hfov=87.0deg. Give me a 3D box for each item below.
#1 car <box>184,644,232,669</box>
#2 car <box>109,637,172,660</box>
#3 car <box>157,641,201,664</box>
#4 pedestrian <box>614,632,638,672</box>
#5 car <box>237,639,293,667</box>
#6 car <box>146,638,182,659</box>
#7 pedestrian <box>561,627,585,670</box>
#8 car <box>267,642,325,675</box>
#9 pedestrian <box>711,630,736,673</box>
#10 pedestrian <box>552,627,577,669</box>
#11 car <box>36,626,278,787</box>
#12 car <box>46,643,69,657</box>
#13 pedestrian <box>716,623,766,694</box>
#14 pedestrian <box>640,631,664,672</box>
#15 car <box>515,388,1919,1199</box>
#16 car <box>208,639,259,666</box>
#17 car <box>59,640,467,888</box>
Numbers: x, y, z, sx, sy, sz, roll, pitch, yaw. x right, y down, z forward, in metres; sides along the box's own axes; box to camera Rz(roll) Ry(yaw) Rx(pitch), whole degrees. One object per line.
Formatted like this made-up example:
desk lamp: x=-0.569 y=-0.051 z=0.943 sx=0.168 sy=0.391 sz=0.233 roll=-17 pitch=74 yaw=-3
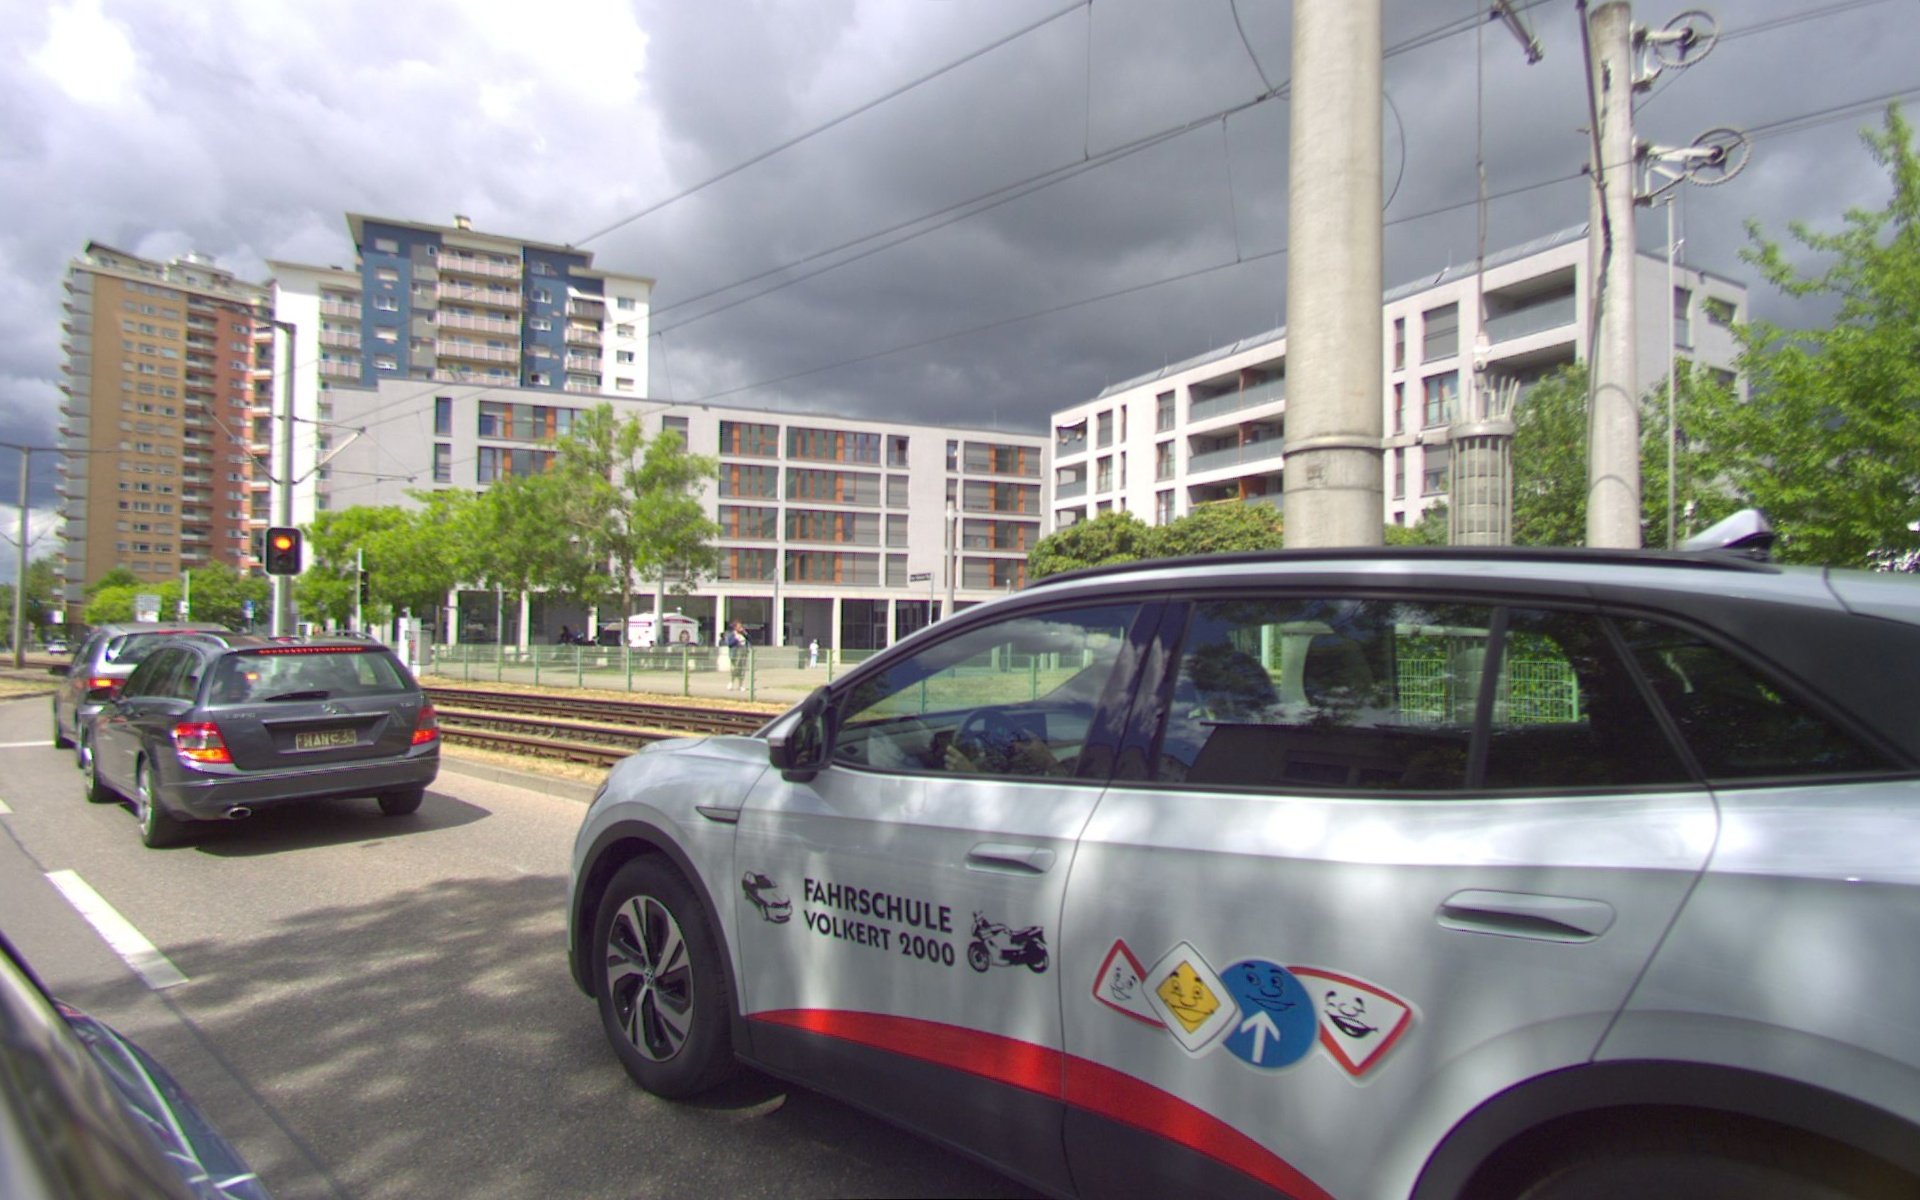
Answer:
car: x=-49.521 y=3.687 z=66.604 sx=3.802 sy=1.551 sz=1.758 roll=-2 pitch=-2 yaw=41
car: x=-71.607 y=4.205 z=88.512 sx=1.856 sy=1.940 sz=4.495 roll=-1 pitch=-2 yaw=1
car: x=-54.674 y=3.639 z=70.808 sx=3.802 sy=1.551 sz=1.758 roll=-2 pitch=-2 yaw=41
pedestrian: x=-16.963 y=2.628 z=51.392 sx=0.906 sy=2.029 sz=0.728 roll=-2 pitch=-2 yaw=24
car: x=-40.078 y=3.034 z=58.352 sx=3.803 sy=1.551 sz=1.868 roll=-2 pitch=-2 yaw=43
car: x=-67.803 y=4.138 z=86.204 sx=3.802 sy=1.672 sz=1.758 roll=-2 pitch=-2 yaw=41
pedestrian: x=-15.339 y=1.920 z=40.111 sx=0.538 sy=1.666 sz=0.739 roll=-2 pitch=-2 yaw=42
car: x=-35.446 y=3.095 z=54.004 sx=1.867 sy=1.635 sz=3.806 roll=1 pitch=-2 yaw=-45
pedestrian: x=-8.933 y=1.949 z=38.254 sx=0.744 sy=1.623 sz=0.534 roll=-1 pitch=-2 yaw=20
pedestrian: x=-15.855 y=1.931 z=40.572 sx=0.538 sy=1.666 sz=0.739 roll=-2 pitch=-2 yaw=42
car: x=-10.170 y=1.194 z=12.704 sx=4.177 sy=1.672 sz=1.836 roll=-2 pitch=-3 yaw=44
car: x=-99.375 y=5.515 z=111.427 sx=1.755 sy=1.511 sz=3.807 roll=1 pitch=-2 yaw=-43
pedestrian: x=-5.157 y=1.374 z=23.859 sx=0.937 sy=1.625 sz=0.746 roll=-2 pitch=-2 yaw=42
pedestrian: x=-15.552 y=2.598 z=51.059 sx=0.906 sy=2.029 sz=0.728 roll=-2 pitch=-2 yaw=24
car: x=0.745 y=0.655 z=2.725 sx=4.431 sy=1.703 sz=1.838 roll=-2 pitch=-2 yaw=41
car: x=-44.820 y=3.224 z=62.427 sx=3.802 sy=1.551 sz=1.758 roll=-2 pitch=-2 yaw=41
car: x=-5.853 y=1.073 z=8.259 sx=4.464 sy=1.456 sz=1.791 roll=-2 pitch=-3 yaw=43
